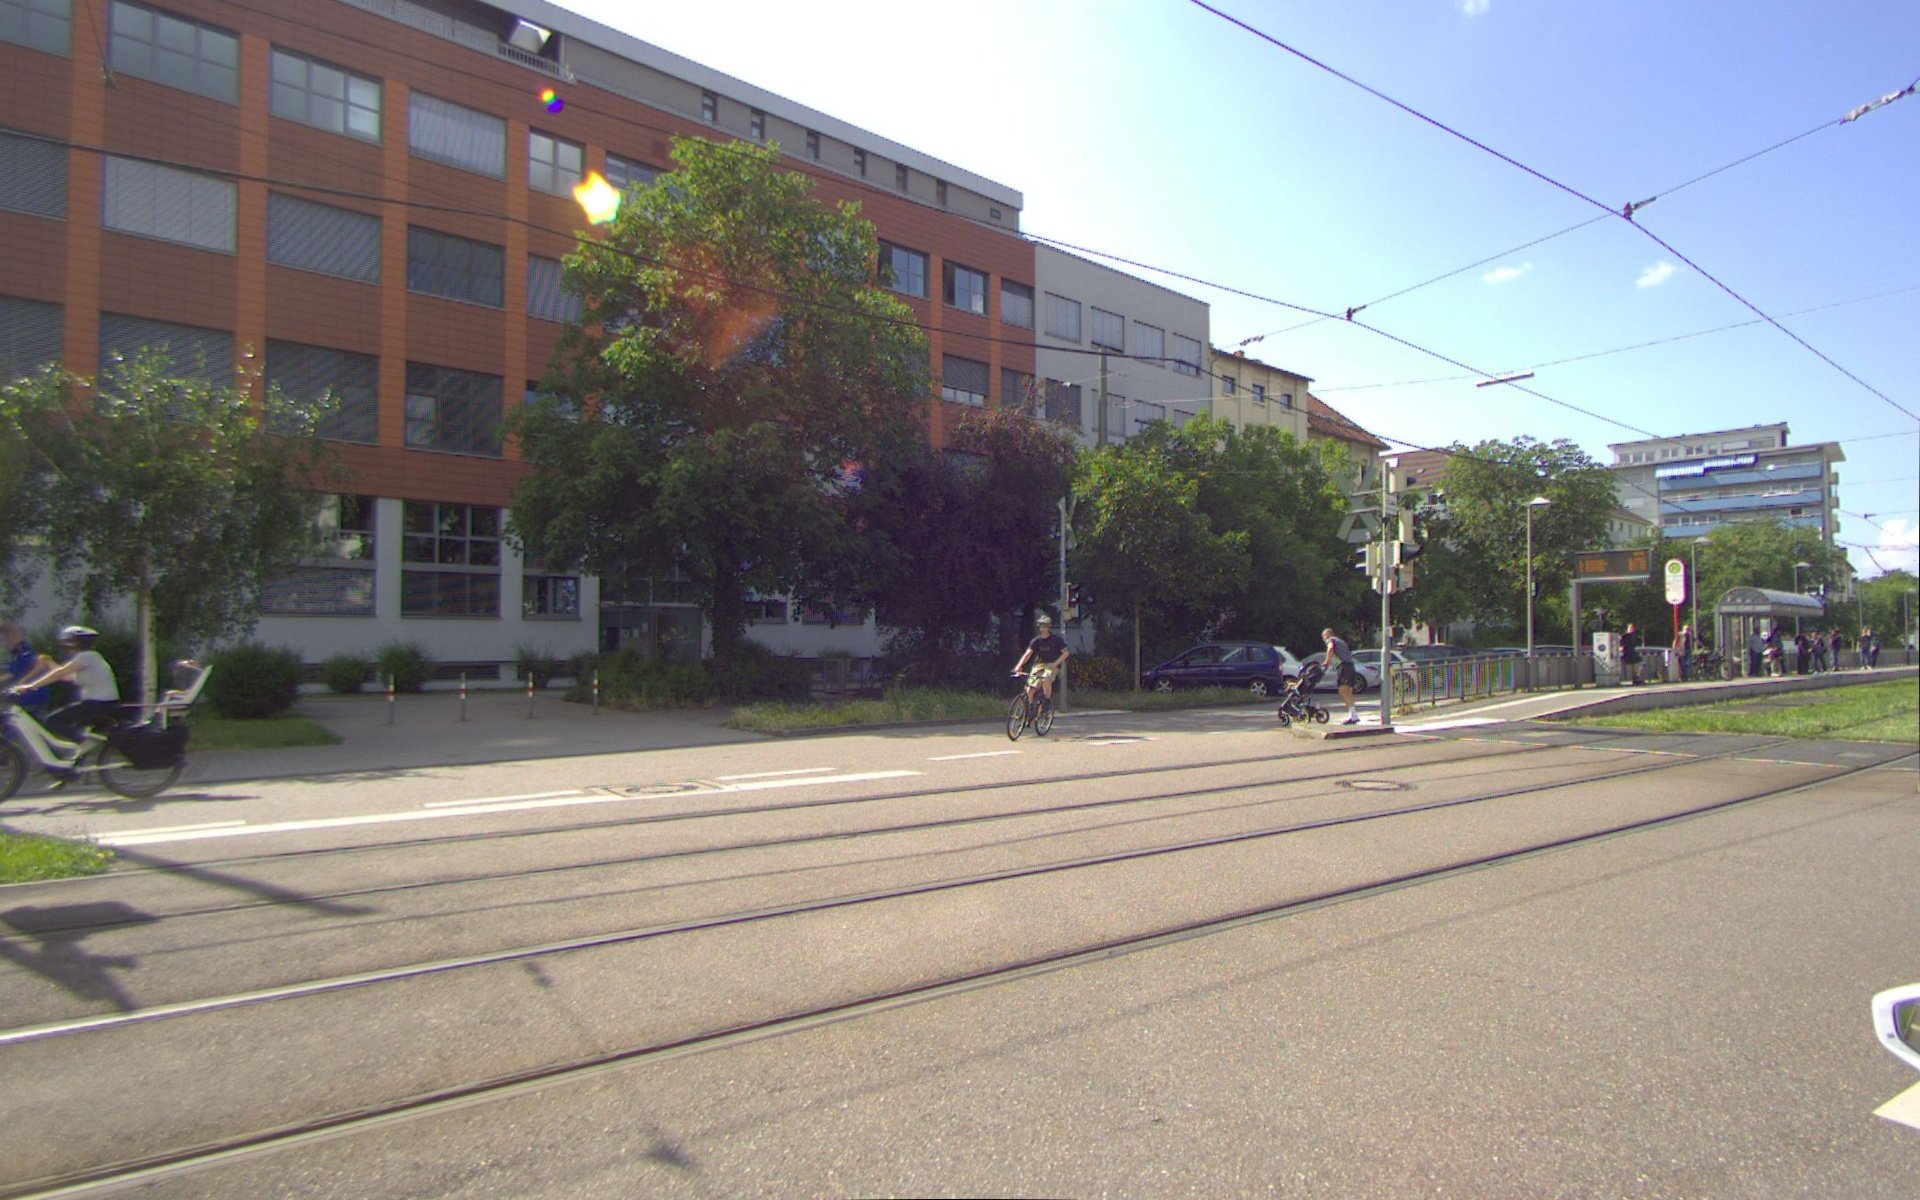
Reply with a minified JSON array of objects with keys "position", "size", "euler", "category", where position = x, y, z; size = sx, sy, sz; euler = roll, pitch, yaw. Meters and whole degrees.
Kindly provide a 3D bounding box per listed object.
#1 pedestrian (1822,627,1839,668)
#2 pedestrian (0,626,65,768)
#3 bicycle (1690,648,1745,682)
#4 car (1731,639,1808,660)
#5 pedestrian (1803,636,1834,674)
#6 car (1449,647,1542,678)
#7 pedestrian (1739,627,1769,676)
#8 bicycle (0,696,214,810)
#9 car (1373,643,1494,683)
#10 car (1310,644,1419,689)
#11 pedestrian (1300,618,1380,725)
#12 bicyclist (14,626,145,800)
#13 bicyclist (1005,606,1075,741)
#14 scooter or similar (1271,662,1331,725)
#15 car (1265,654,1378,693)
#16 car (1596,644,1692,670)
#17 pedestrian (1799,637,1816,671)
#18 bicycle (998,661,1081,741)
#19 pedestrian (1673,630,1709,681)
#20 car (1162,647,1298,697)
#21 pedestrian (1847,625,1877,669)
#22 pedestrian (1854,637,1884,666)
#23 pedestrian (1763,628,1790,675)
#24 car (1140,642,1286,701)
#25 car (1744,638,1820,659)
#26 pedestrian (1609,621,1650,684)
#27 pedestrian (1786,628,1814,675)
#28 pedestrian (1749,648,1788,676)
[{"position":[37.276,2.034,42.999],"size":[0.482,1.734,0.461],"euler":[-3,-4,41],"category":"pedestrian"},{"position":[-11.439,1.157,12.165],"size":[0.738,1.678,0.554],"euler":[2,-3,-31],"category":"pedestrian"},{"position":[23.431,2.003,31.068],"size":[1.750,0.987,0.683],"euler":[1,-5,-30],"category":"bicycle"},{"position":[56.826,3.467,70.534],"size":[3.919,1.404,1.641],"euler":[0,-2,6],"category":"car"},{"position":[33.100,2.126,38.747],"size":[0.552,1.444,0.656],"euler":[-1,-3,-2],"category":"pedestrian"},{"position":[22.802,2.657,42.853],"size":[3.181,1.326,1.457],"euler":[0,-2,3],"category":"car"},{"position":[28.185,1.836,35.642],"size":[0.651,1.714,0.650],"euler":[2,-4,-38],"category":"pedestrian"},{"position":[-8.716,1.485,9.886],"size":[2.157,0.983,0.676],"euler":[2,-4,-36],"category":"bicycle"},{"position":[18.374,2.464,39.138],"size":[3.919,1.475,1.692],"euler":[-1,-3,11],"category":"car"},{"position":[14.163,2.308,35.317],"size":[3.320,1.525,1.546],"euler":[-1,-3,14],"category":"car"},{"position":[6.667,1.249,17.625],"size":[0.995,1.798,0.864],"euler":[2,-5,-39],"category":"pedestrian"},{"position":[-8.622,1.077,9.880],"size":[0.855,1.602,0.780],"euler":[1,-3,-36],"category":"bicyclist"},{"position":[1.294,1.154,15.997],"size":[0.931,2.040,1.577],"euler":[-1,-3,10],"category":"bicyclist"},{"position":[6.080,1.664,17.902],"size":[0.938,1.078,0.797],"euler":[-3,-4,19],"category":"scooter or similar"},{"position":[11.903,2.417,33.263],"size":[3.320,1.252,1.546],"euler":[-1,-2,12],"category":"car"},{"position":[37.350,3.125,54.921],"size":[3.919,1.385,1.718],"euler":[-1,-3,10],"category":"car"},{"position":[36.892,2.342,43.726],"size":[0.482,1.471,0.461],"euler":[-3,-4,41],"category":"pedestrian"},{"position":[1.304,1.586,16.014],"size":[1.134,1.193,1.790],"euler":[-1,-4,10],"category":"bicycle"},{"position":[23.043,1.750,31.668],"size":[0.678,1.590,0.660],"euler":[1,-4,-31],"category":"pedestrian"},{"position":[8.470,2.254,31.805],"size":[4.049,1.518,1.727],"euler":[-1,-2,12],"category":"car"},{"position":[42.740,2.237,47.614],"size":[0.649,2.040,0.804],"euler":[0,-2,8],"category":"pedestrian"},{"position":[47.270,2.679,52.230],"size":[1.016,1.456,0.701],"euler":[-4,-4,37],"category":"pedestrian"},{"position":[31.204,1.969,38.380],"size":[0.551,1.759,0.590],"euler":[1,-3,-34],"category":"pedestrian"},{"position":[7.413,2.082,29.713],"size":[4.049,1.662,1.727],"euler":[-1,-2,12],"category":"car"},{"position":[60.624,3.585,74.136],"size":[3.920,1.466,1.729],"euler":[-1,-2,17],"category":"car"},{"position":[19.014,1.483,28.544],"size":[0.654,1.749,0.715],"euler":[0,-2,3],"category":"pedestrian"},{"position":[32.336,1.989,38.664],"size":[0.631,1.789,0.601],"euler":[1,-2,-30],"category":"pedestrian"},{"position":[29.384,2.251,36.505],"size":[0.790,1.001,0.918],"euler":[3,-5,-36],"category":"pedestrian"}]
